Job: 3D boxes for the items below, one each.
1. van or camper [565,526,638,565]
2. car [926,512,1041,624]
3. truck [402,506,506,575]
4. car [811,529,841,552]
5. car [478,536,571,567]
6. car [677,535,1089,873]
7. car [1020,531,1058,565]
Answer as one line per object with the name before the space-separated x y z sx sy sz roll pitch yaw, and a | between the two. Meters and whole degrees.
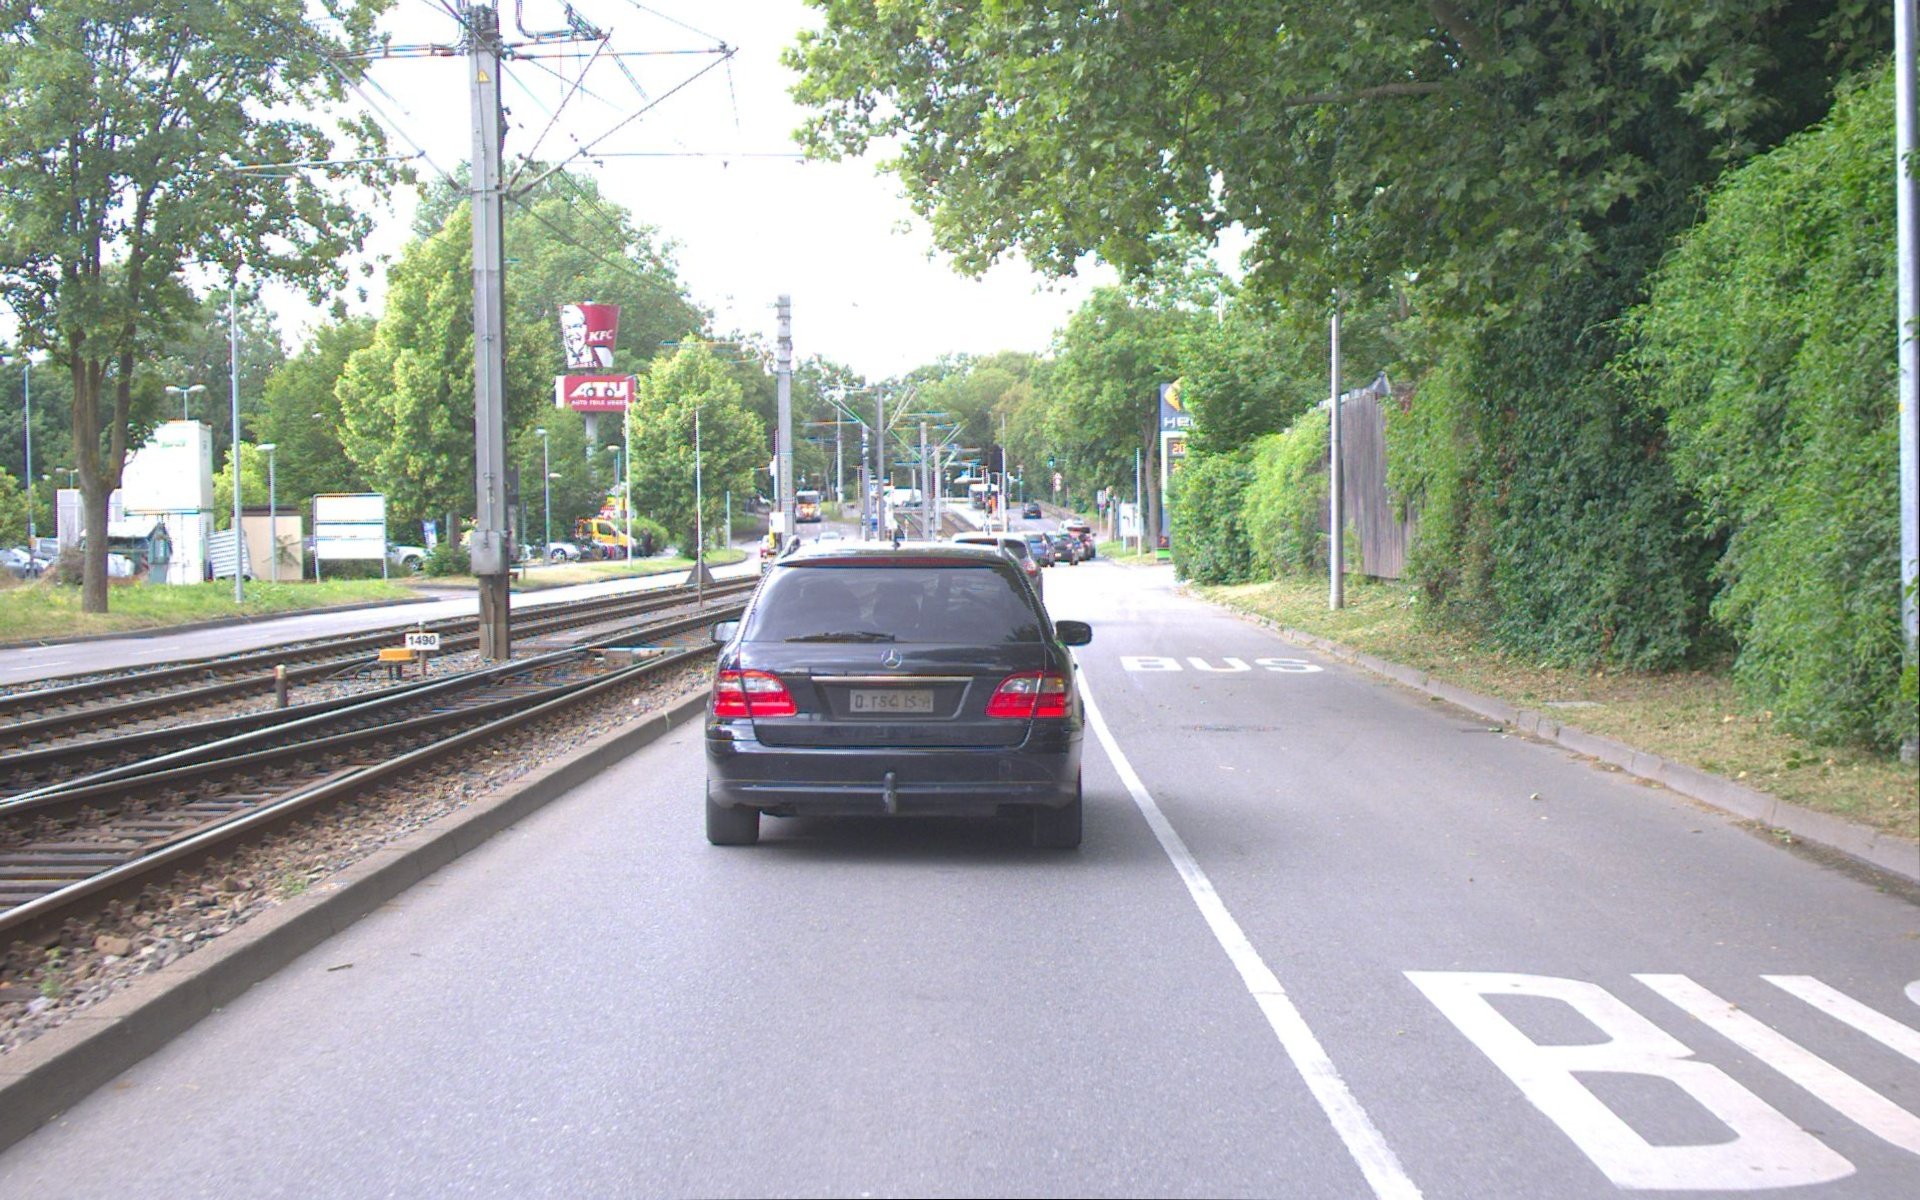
van or camper | -20.199 -3.077 193.839 3.986 2.127 1.878 1 1 -3
car | 0.416 -0.523 56.429 1.780 1.744 3.718 1 1 1
truck | -21.252 -2.493 144.486 3.987 2.812 2.376 -1 1 -1
car | -9.005 -4.021 231.969 1.759 1.396 4.444 -3 1 0
car | -21.189 -2.364 167.350 4.306 1.467 1.680 -1 1 -1
car | -0.298 0.423 17.149 1.808 1.469 3.881 1 1 1
car | 3.364 -2.218 146.474 1.571 1.410 3.354 1 1 1
